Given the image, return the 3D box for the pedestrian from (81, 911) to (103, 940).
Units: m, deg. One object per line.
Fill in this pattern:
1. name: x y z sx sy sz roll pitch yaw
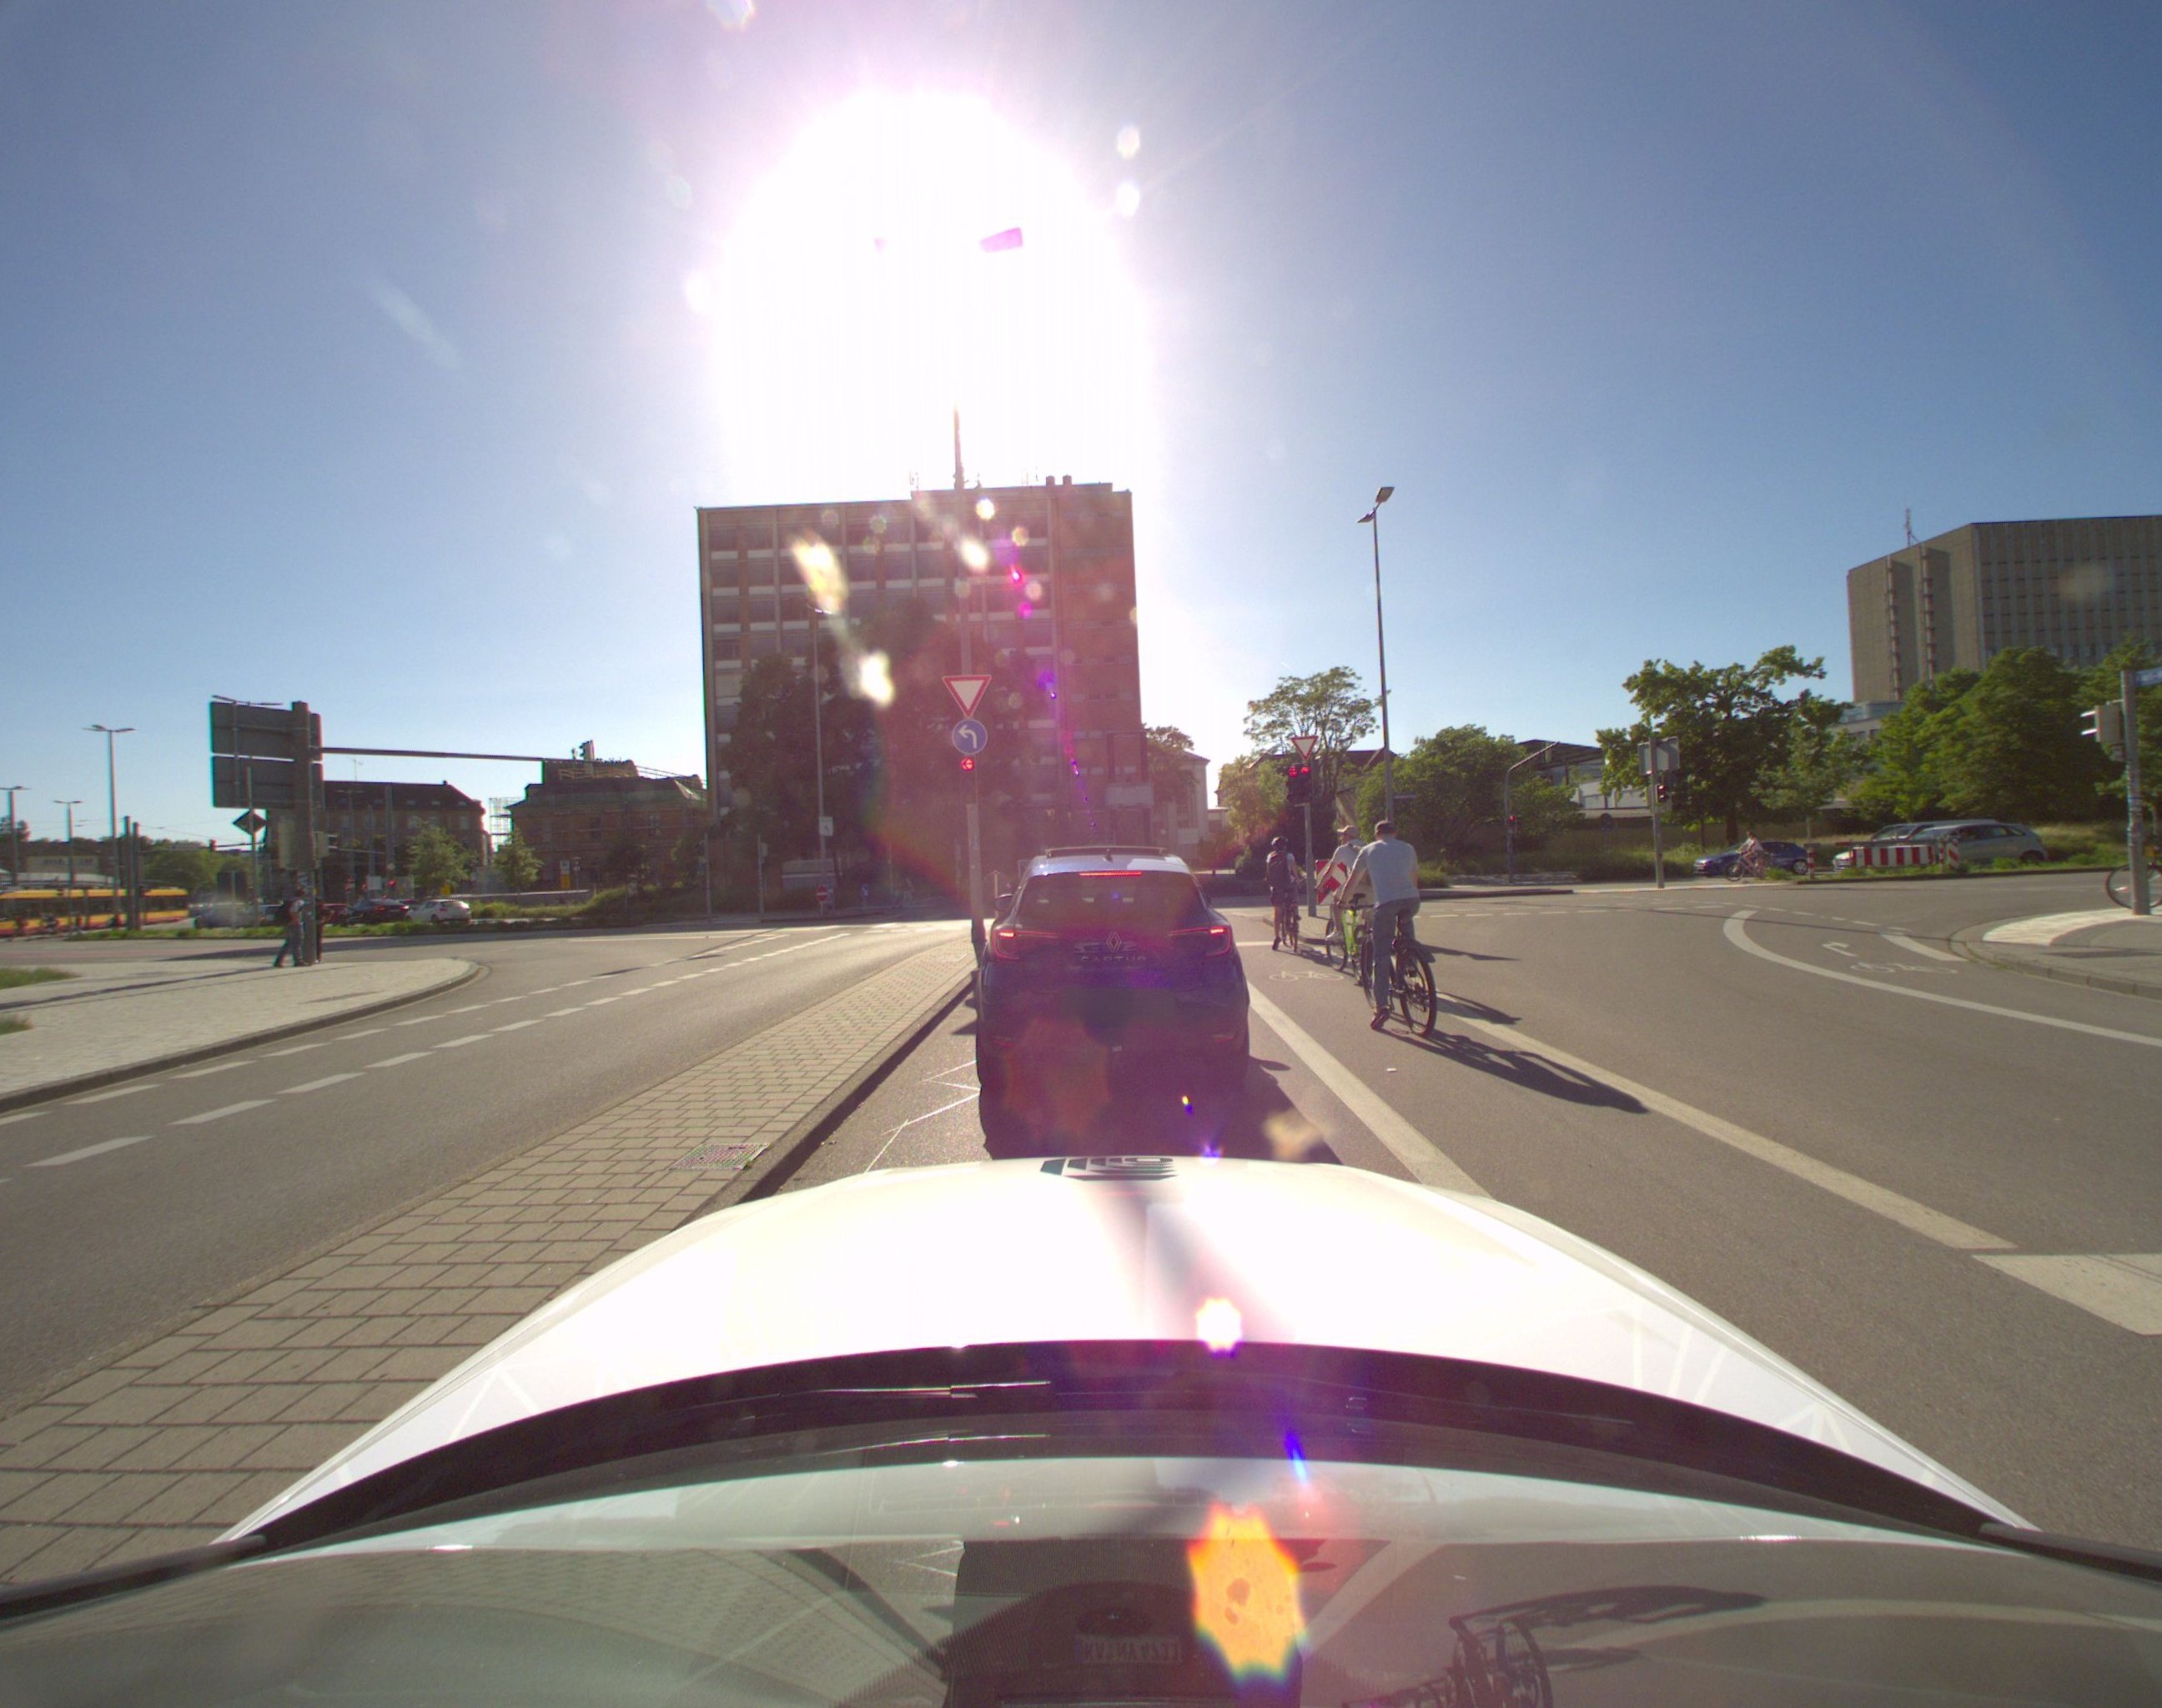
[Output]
1. pedestrian: -62.669 4.527 51.600 0.696 1.762 0.782 -3 -1 31

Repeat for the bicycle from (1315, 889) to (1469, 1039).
1. bicycle: 2.711 0.901 7.339 0.687 1.089 1.923 -1 0 2

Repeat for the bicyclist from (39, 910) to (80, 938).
1. bicyclist: -66.001 4.511 52.629 0.800 1.634 1.586 -1 -1 36

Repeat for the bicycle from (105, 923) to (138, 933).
1. bicycle: -64.346 4.974 54.630 0.429 0.549 1.419 -3 -1 42

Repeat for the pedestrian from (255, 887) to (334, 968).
1. pedestrian: -17.863 1.644 18.518 0.647 1.730 1.066 -3 -1 15

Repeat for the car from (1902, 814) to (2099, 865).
1. car: 29.216 -0.433 26.000 3.965 1.398 1.798 -3 -1 7

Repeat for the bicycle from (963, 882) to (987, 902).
1. bicycle: -5.732 2.046 44.170 0.751 0.985 2.098 -2 0 8

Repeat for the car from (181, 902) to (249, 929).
1. car: -54.918 3.897 51.636 3.834 1.508 1.805 -3 -1 25

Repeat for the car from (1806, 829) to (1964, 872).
1. car: 30.292 -0.136 30.792 3.965 1.398 1.798 -3 -1 7

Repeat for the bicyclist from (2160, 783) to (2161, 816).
1. bicyclist: 16.022 -0.225 11.472 0.635 1.646 0.903 -2 -1 -39

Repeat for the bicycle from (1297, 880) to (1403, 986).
1. bicycle: 3.184 0.892 9.834 0.687 1.089 1.923 -1 0 2

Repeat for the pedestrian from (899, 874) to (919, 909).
1. pedestrian: -8.753 1.916 41.499 0.675 1.730 0.764 -3 -1 15

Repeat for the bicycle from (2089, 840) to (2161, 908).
1. bicycle: 15.910 0.269 11.625 0.640 0.958 1.866 -2 -1 -39

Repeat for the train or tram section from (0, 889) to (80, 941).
1. train or tram section: -76.237 4.277 58.108 2.710 3.232 10.495 0 -1 -31

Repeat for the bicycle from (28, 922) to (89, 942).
1. bicycle: -66.000 5.011 52.596 0.800 1.062 2.434 -1 -1 36

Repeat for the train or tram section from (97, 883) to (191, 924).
1. train or tram section: -87.226 4.505 76.075 2.710 3.232 10.495 0 -1 -31

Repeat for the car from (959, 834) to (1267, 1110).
1. car: 0.193 0.706 6.765 1.783 1.585 3.913 -1 0 0

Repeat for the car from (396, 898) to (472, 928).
1. car: -36.399 3.340 45.834 3.834 1.508 1.805 -3 -1 25

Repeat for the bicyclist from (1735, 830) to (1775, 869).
1. bicyclist: 24.031 -0.159 29.050 0.870 1.343 0.612 -2 -1 7

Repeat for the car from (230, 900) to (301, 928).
1. car: -48.869 3.609 48.803 3.834 1.508 1.805 -3 -1 25

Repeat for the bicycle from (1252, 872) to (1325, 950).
1. bicycle: 3.235 0.860 12.854 0.687 1.089 1.923 -1 0 2

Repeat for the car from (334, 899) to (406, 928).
1. car: -42.555 3.568 48.739 3.834 1.508 1.805 -3 -1 25

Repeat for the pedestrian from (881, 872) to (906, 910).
1. pedestrian: -9.695 1.900 42.121 0.807 1.862 0.913 -3 -1 15

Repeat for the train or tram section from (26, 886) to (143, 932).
1. train or tram section: -81.711 4.391 67.093 2.710 3.232 10.495 0 -1 -31

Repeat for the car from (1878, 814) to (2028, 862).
1. car: 35.866 -0.618 33.606 3.965 1.749 1.798 -3 -1 7

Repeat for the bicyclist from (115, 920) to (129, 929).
1. bicyclist: -64.351 4.700 54.651 0.425 0.549 0.575 -3 -1 42

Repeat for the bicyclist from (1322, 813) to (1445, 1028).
1. bicyclist: 2.702 0.558 7.399 0.680 1.791 1.142 -1 -1 2

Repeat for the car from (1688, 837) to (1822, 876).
1. car: 28.130 0.106 34.106 3.965 1.398 1.798 -3 -1 7

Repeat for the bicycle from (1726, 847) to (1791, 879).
1. bicycle: 24.135 0.322 29.034 1.673 1.033 0.612 -3 -1 7

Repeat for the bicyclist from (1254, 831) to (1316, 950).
1. bicyclist: 3.215 0.562 12.926 0.697 1.791 1.142 -1 -1 2

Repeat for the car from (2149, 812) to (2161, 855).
1. car: 36.896 -0.763 25.330 4.534 1.398 1.798 -3 -1 7

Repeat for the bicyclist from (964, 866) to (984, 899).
1. bicyclist: -5.768 1.549 44.070 0.751 1.716 1.001 -2 -1 7

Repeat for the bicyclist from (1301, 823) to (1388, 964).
1. bicyclist: 3.174 0.455 9.909 0.676 1.594 1.142 -1 -1 1

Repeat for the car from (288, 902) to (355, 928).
1. car: -48.212 3.874 51.708 3.834 1.508 1.805 -3 -1 25
